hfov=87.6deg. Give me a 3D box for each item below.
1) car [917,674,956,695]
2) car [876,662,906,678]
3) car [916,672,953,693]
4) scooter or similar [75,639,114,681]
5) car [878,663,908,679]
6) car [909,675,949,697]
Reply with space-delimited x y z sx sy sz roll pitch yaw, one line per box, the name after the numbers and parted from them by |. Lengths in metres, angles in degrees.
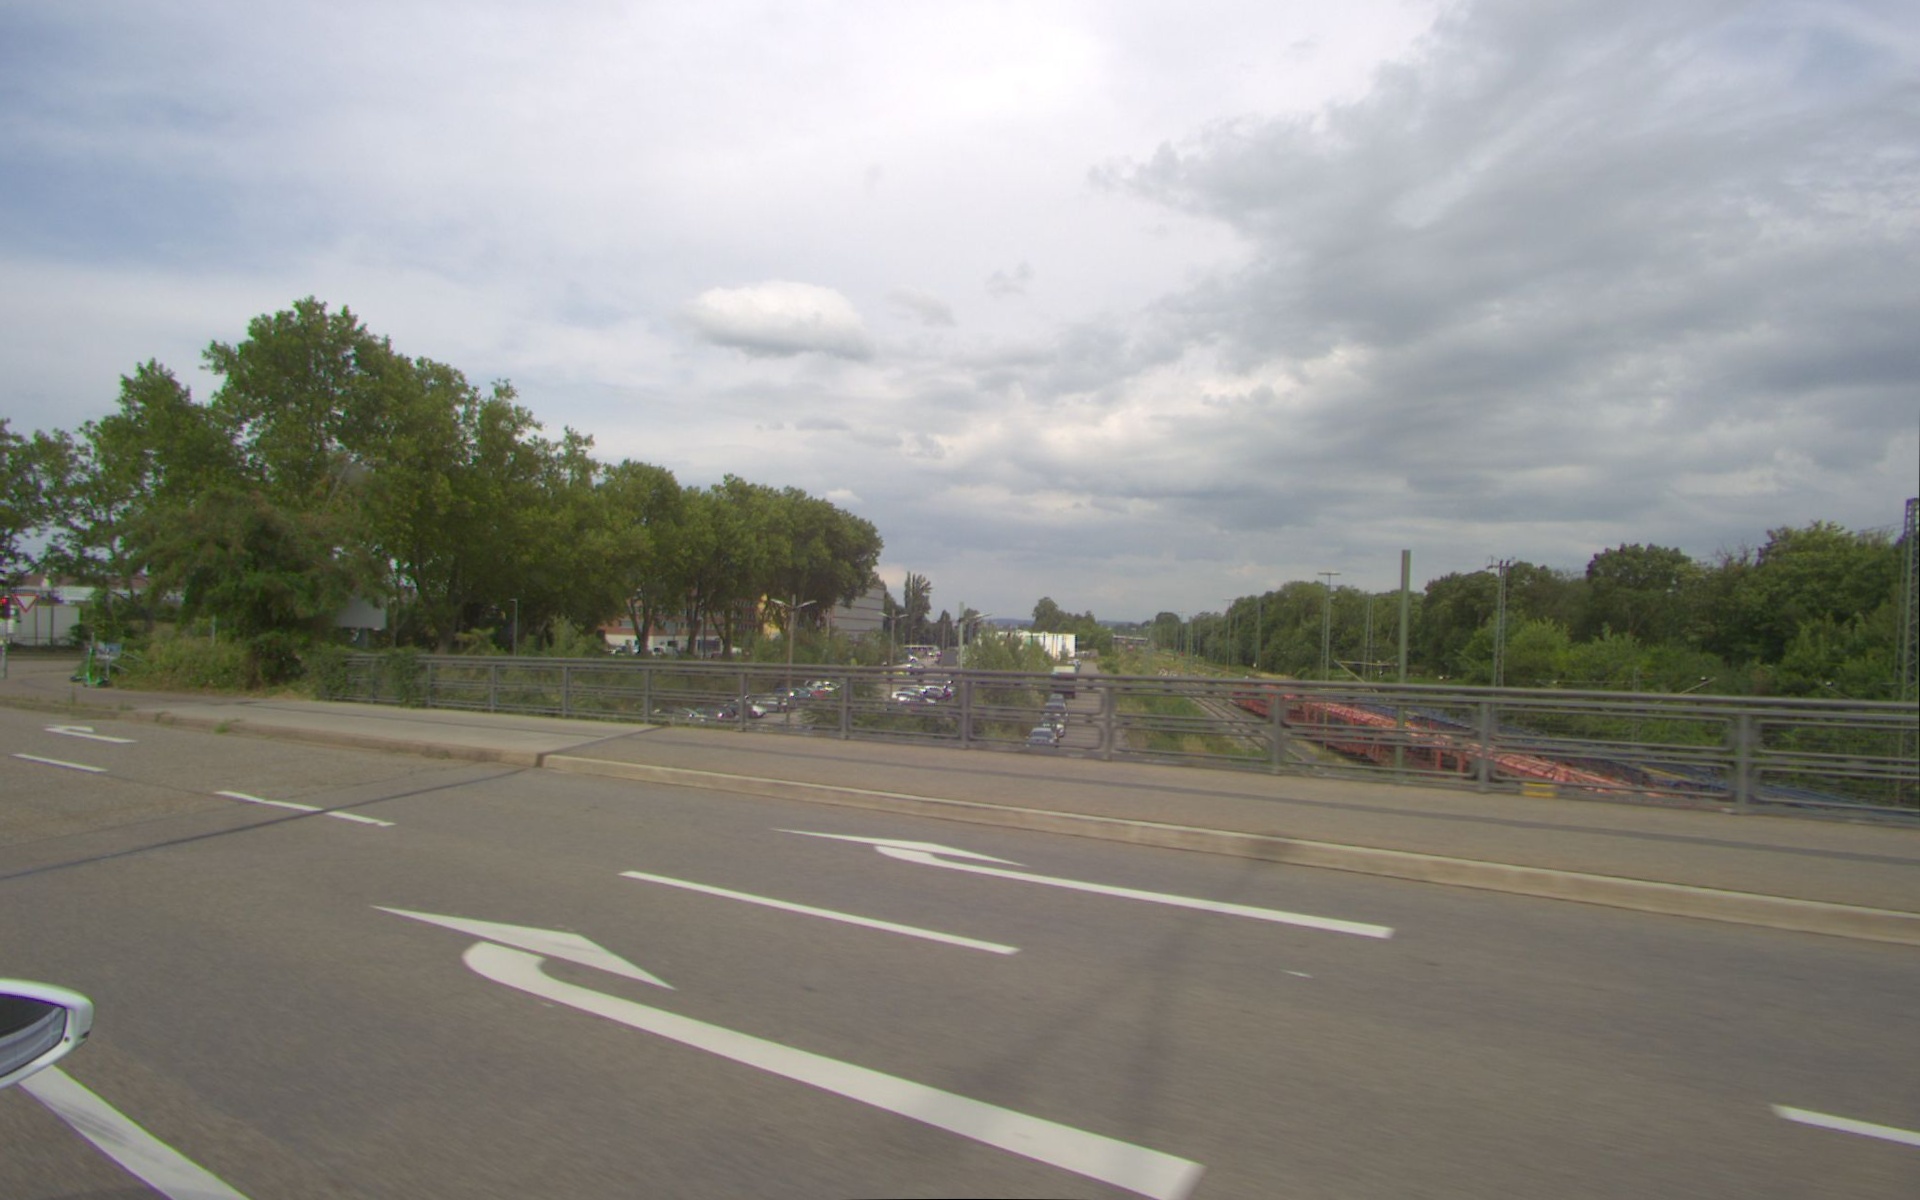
-2.486 9.020 106.658 3.922 2.039 1.763 2 -1 3 | car
-9.844 9.989 143.220 3.923 2.039 1.763 2 -1 9 | car
-2.809 9.152 110.969 3.922 2.039 1.763 2 -1 3 | car
-25.536 1.761 29.537 1.260 1.198 0.396 0 -1 26 | scooter or similar
-9.397 9.909 140.355 3.923 2.039 1.763 2 -1 9 | car
-3.170 8.885 103.247 3.922 2.039 1.763 2 -1 3 | car
